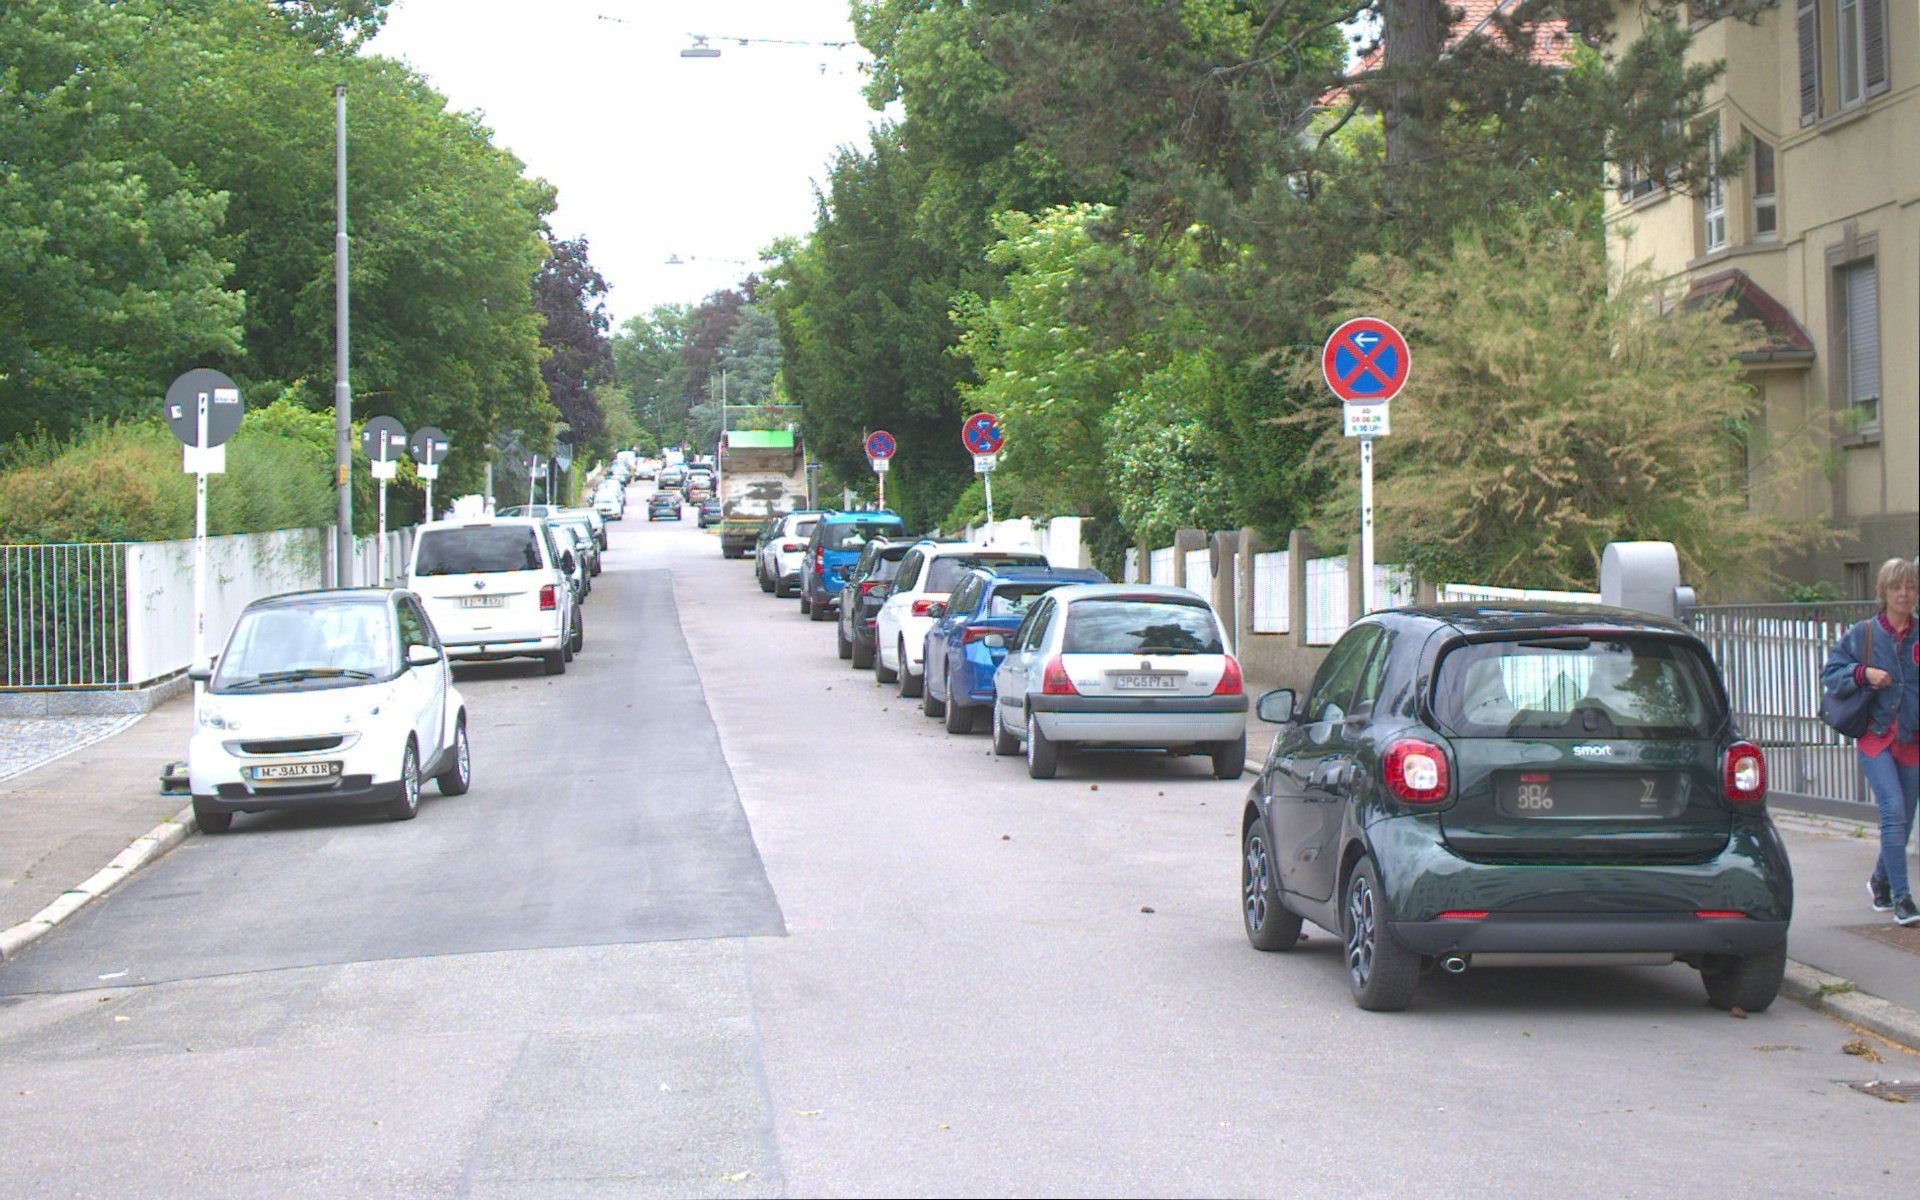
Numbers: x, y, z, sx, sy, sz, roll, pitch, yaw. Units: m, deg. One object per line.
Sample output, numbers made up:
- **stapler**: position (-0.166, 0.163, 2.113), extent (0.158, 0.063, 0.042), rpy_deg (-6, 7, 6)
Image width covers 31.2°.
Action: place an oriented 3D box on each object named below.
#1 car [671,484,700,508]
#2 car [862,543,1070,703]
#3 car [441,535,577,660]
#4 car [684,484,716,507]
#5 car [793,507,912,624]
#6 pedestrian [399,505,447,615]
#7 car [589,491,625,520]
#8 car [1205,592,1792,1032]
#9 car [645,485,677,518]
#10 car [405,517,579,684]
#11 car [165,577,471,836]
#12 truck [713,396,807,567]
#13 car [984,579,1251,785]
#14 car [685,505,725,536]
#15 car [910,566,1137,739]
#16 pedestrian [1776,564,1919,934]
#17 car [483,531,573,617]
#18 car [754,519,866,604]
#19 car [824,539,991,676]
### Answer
- **car**: position (-17.639, -6.686, 221.028), extent (1.789, 1.524, 3.735), rpy_deg (0, 2, -4)
- **car**: position (0.007, 0.204, 37.902), extent (1.784, 1.598, 4.305), rpy_deg (1, 1, -6)
- **car**: position (-6.465, -0.080, 49.321), extent (1.790, 1.617, 4.344), rpy_deg (-2, 2, -7)
- **car**: position (-16.051, -6.438, 212.213), extent (1.810, 1.331, 3.633), rpy_deg (1, 3, -6)
- **car**: position (-1.860, -0.615, 58.160), extent (1.682, 1.823, 4.158), rpy_deg (1, 2, -6)
- **pedestrian**: position (-9.946, -0.751, 63.678), extent (0.811, 2.006, 0.860), rpy_deg (0, 2, -4)
- **car**: position (-19.316, -5.197, 188.317), extent (1.711, 1.580, 4.001), rpy_deg (0, 2, -2)
- **car**: position (2.091, 0.783, 14.085), extent (1.571, 1.526, 2.868), rpy_deg (2, 1, -8)
- **car**: position (-15.943, -5.237, 183.089), extent (1.633, 1.695, 3.495), rpy_deg (0, 2, -6)
- **car**: position (-5.854, -0.048, 43.452), extent (1.854, 1.906, 4.620), rpy_deg (-3, 1, -5)
- **car**: position (-4.408, 0.690, 23.950), extent (1.442, 1.547, 2.770), rpy_deg (-4, 2, 2)
- **truck**: position (-5.836, -3.405, 99.400), extent (2.524, 4.732, 7.189), rpy_deg (0, 2, -5)
- **car**: position (1.147, 0.581, 26.553), extent (1.573, 1.395, 3.656), rpy_deg (1, 1, -5)
- **car**: position (-12.521, -3.895, 168.725), extent (1.778, 1.484, 4.001), rpy_deg (-1, 2, -6)
- **car**: position (0.518, 0.431, 31.552), extent (1.647, 1.453, 4.052), rpy_deg (1, 1, -5)
- **pedestrian**: position (4.109, 0.638, 15.276), extent (0.681, 1.571, 0.906), rpy_deg (-3, -1, 1)
- **car**: position (-8.527, -0.529, 67.749), extent (1.621, 1.528, 2.963), rpy_deg (-3, 2, -8)
- **car**: position (-3.042, -0.798, 68.879), extent (1.757, 1.600, 4.576), rpy_deg (0, 2, -9)
- **car**: position (-0.713, 0.055, 43.414), extent (1.749, 1.602, 4.076), rpy_deg (1, 1, -5)
